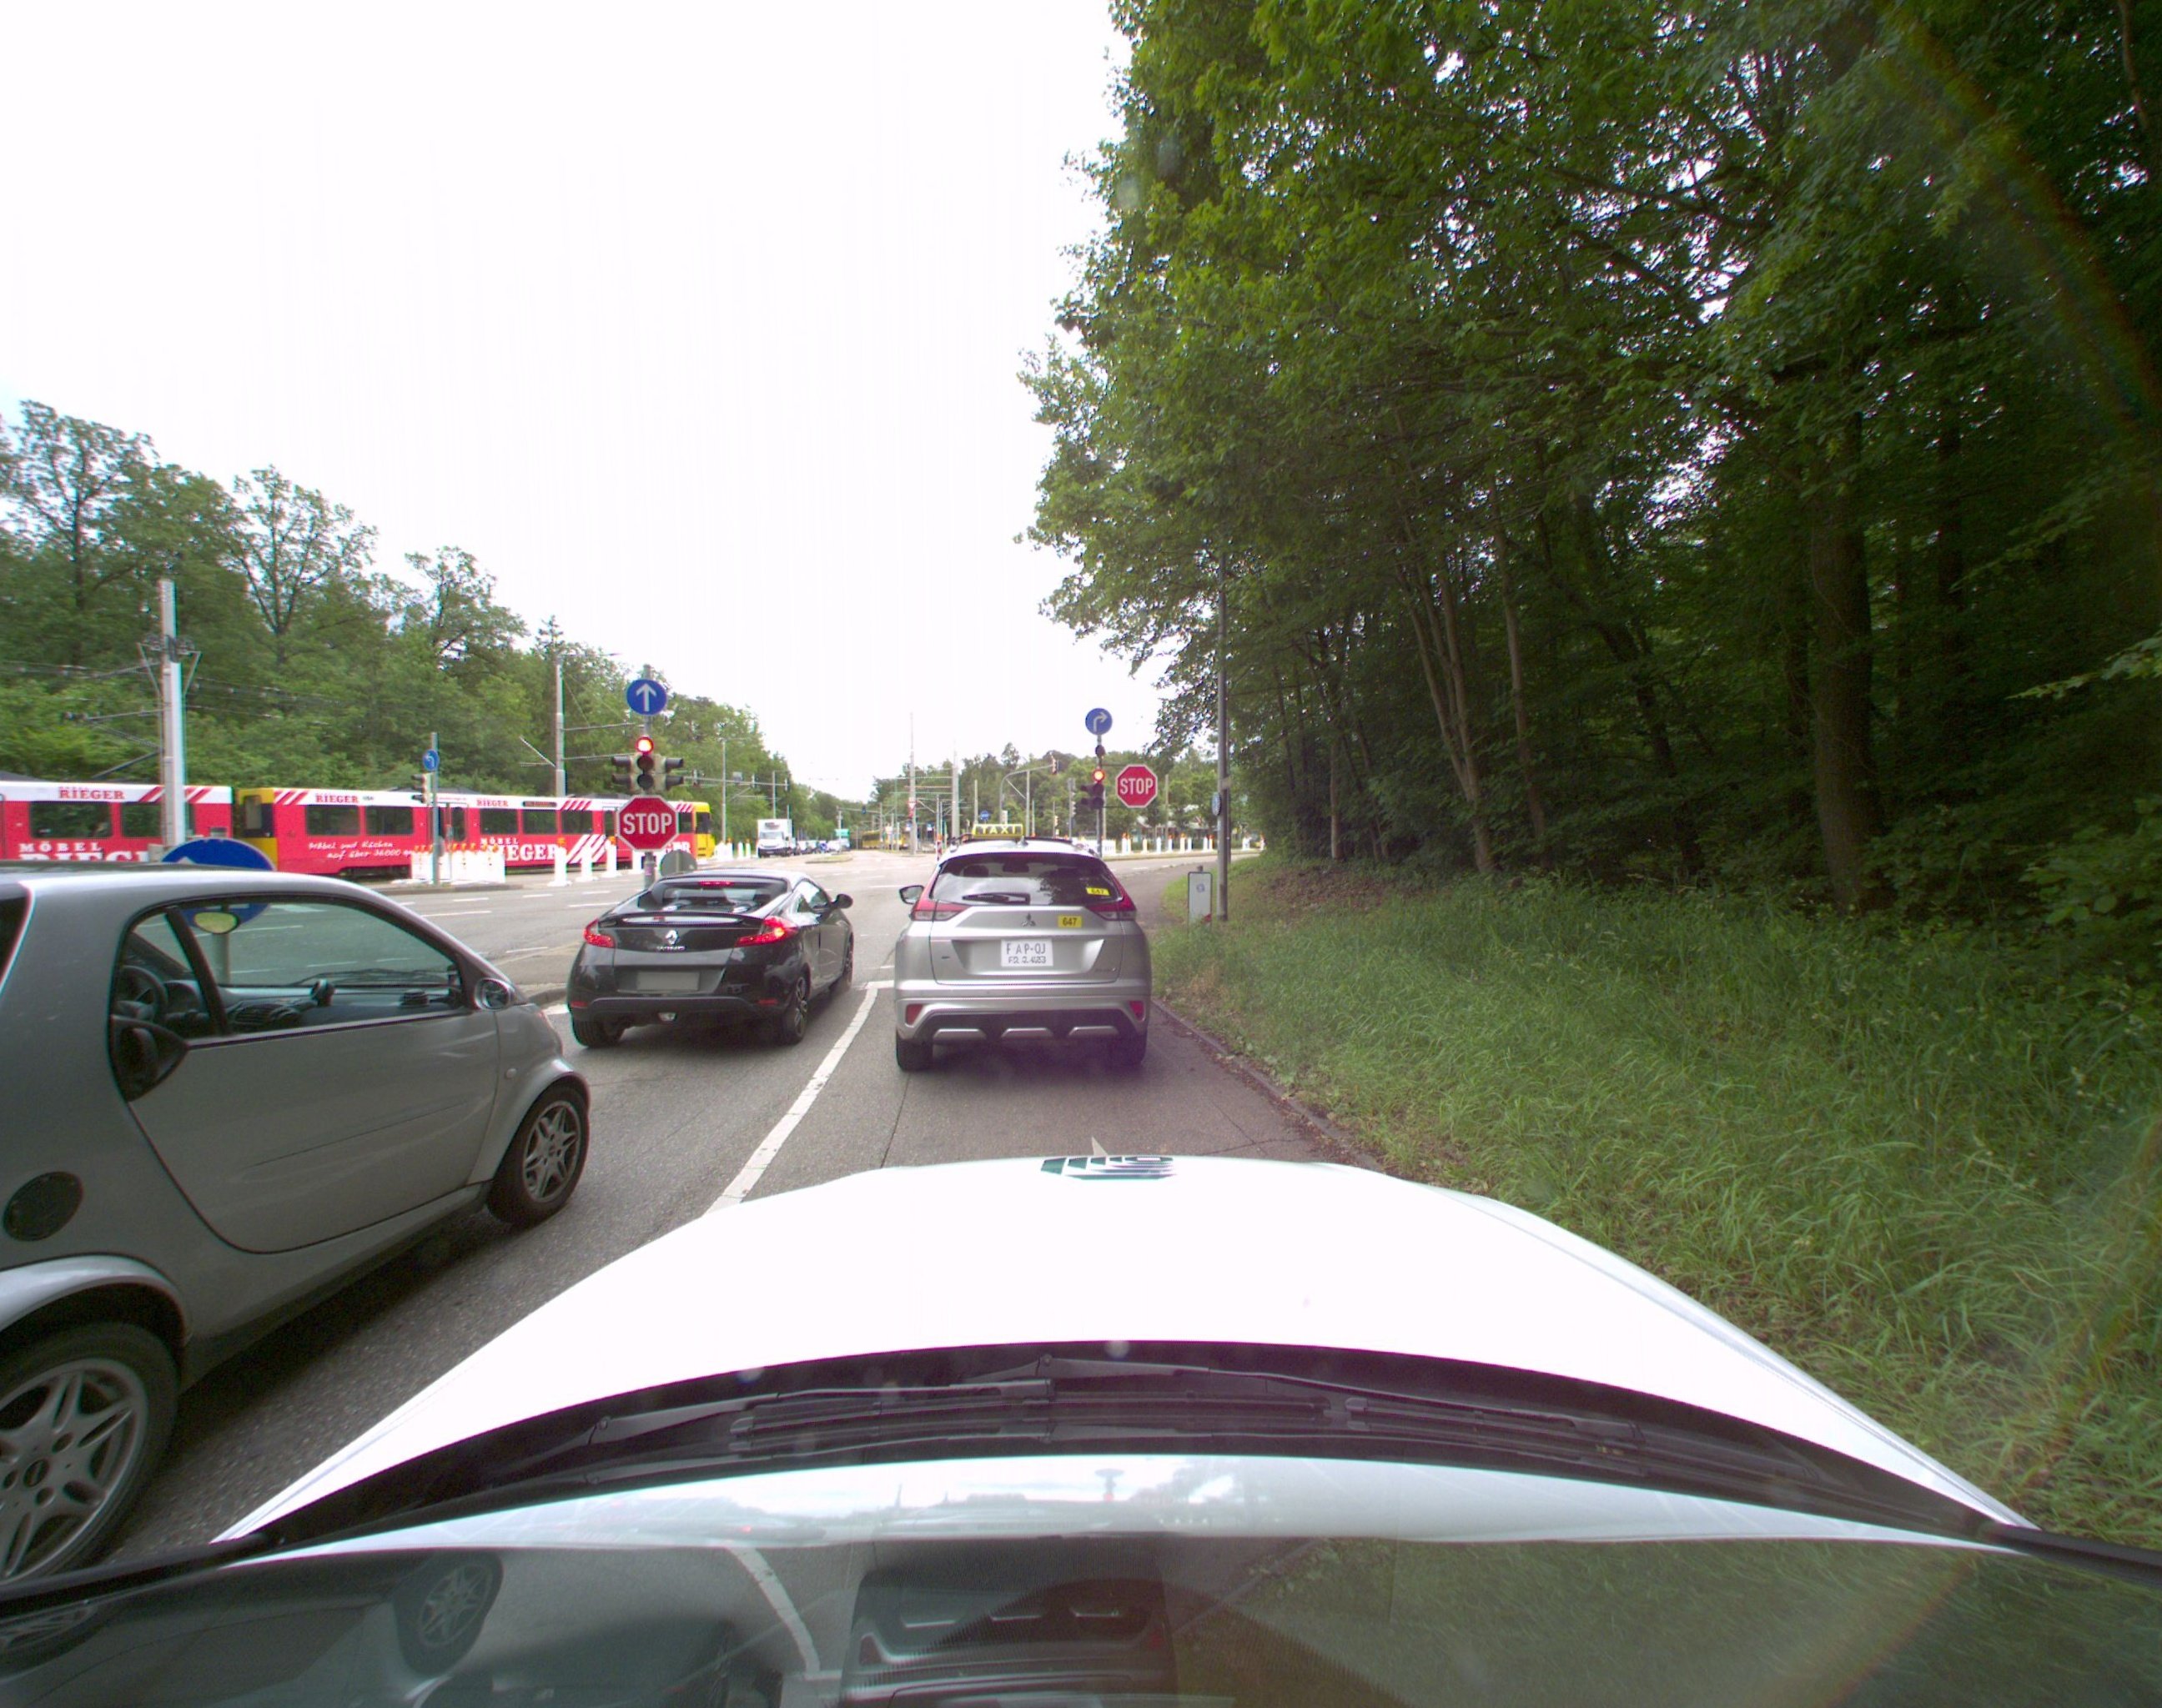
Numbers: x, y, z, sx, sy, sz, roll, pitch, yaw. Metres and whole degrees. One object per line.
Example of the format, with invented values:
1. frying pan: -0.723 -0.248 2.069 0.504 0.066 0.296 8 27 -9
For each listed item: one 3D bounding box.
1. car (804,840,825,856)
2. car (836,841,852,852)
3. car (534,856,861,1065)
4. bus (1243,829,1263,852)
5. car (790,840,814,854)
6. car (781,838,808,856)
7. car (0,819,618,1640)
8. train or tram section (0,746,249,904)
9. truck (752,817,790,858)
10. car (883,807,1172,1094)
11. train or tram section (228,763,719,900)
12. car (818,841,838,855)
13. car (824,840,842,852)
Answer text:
1. car: -31.306 -0.697 95.679 1.964 1.844 4.669 -1 1 -13
2. car: -35.188 -1.077 121.107 1.964 1.540 4.291 -1 1 -13
3. car: -3.189 0.754 7.565 1.773 1.361 3.466 -1 1 -9
4. bus: 28.629 -2.306 135.603 2.804 3.602 12.841 0 1 10
5. car: -30.066 -0.777 87.761 1.964 1.361 4.669 -1 1 -13
6. car: -28.019 -0.693 79.725 1.964 1.749 4.824 -1 1 -14
7. car: -2.905 0.727 2.542 1.455 1.586 2.724 -1 1 -4
8. train or tram section: -33.877 -0.798 19.808 2.927 4.418 18.848 -1 -1 33
9. truck: -25.745 -1.329 67.919 2.455 3.224 7.114 -2 1 -17
10. car: -0.520 0.578 6.956 1.772 1.748 3.772 1 1 -7
11. train or tram section: -24.987 -0.713 36.713 2.920 4.650 18.649 -1 -1 24
12. car: -31.716 -0.783 102.186 1.964 1.607 4.291 -1 1 -13
13. car: -32.834 -1.068 107.883 1.964 1.541 4.376 -1 1 -13
